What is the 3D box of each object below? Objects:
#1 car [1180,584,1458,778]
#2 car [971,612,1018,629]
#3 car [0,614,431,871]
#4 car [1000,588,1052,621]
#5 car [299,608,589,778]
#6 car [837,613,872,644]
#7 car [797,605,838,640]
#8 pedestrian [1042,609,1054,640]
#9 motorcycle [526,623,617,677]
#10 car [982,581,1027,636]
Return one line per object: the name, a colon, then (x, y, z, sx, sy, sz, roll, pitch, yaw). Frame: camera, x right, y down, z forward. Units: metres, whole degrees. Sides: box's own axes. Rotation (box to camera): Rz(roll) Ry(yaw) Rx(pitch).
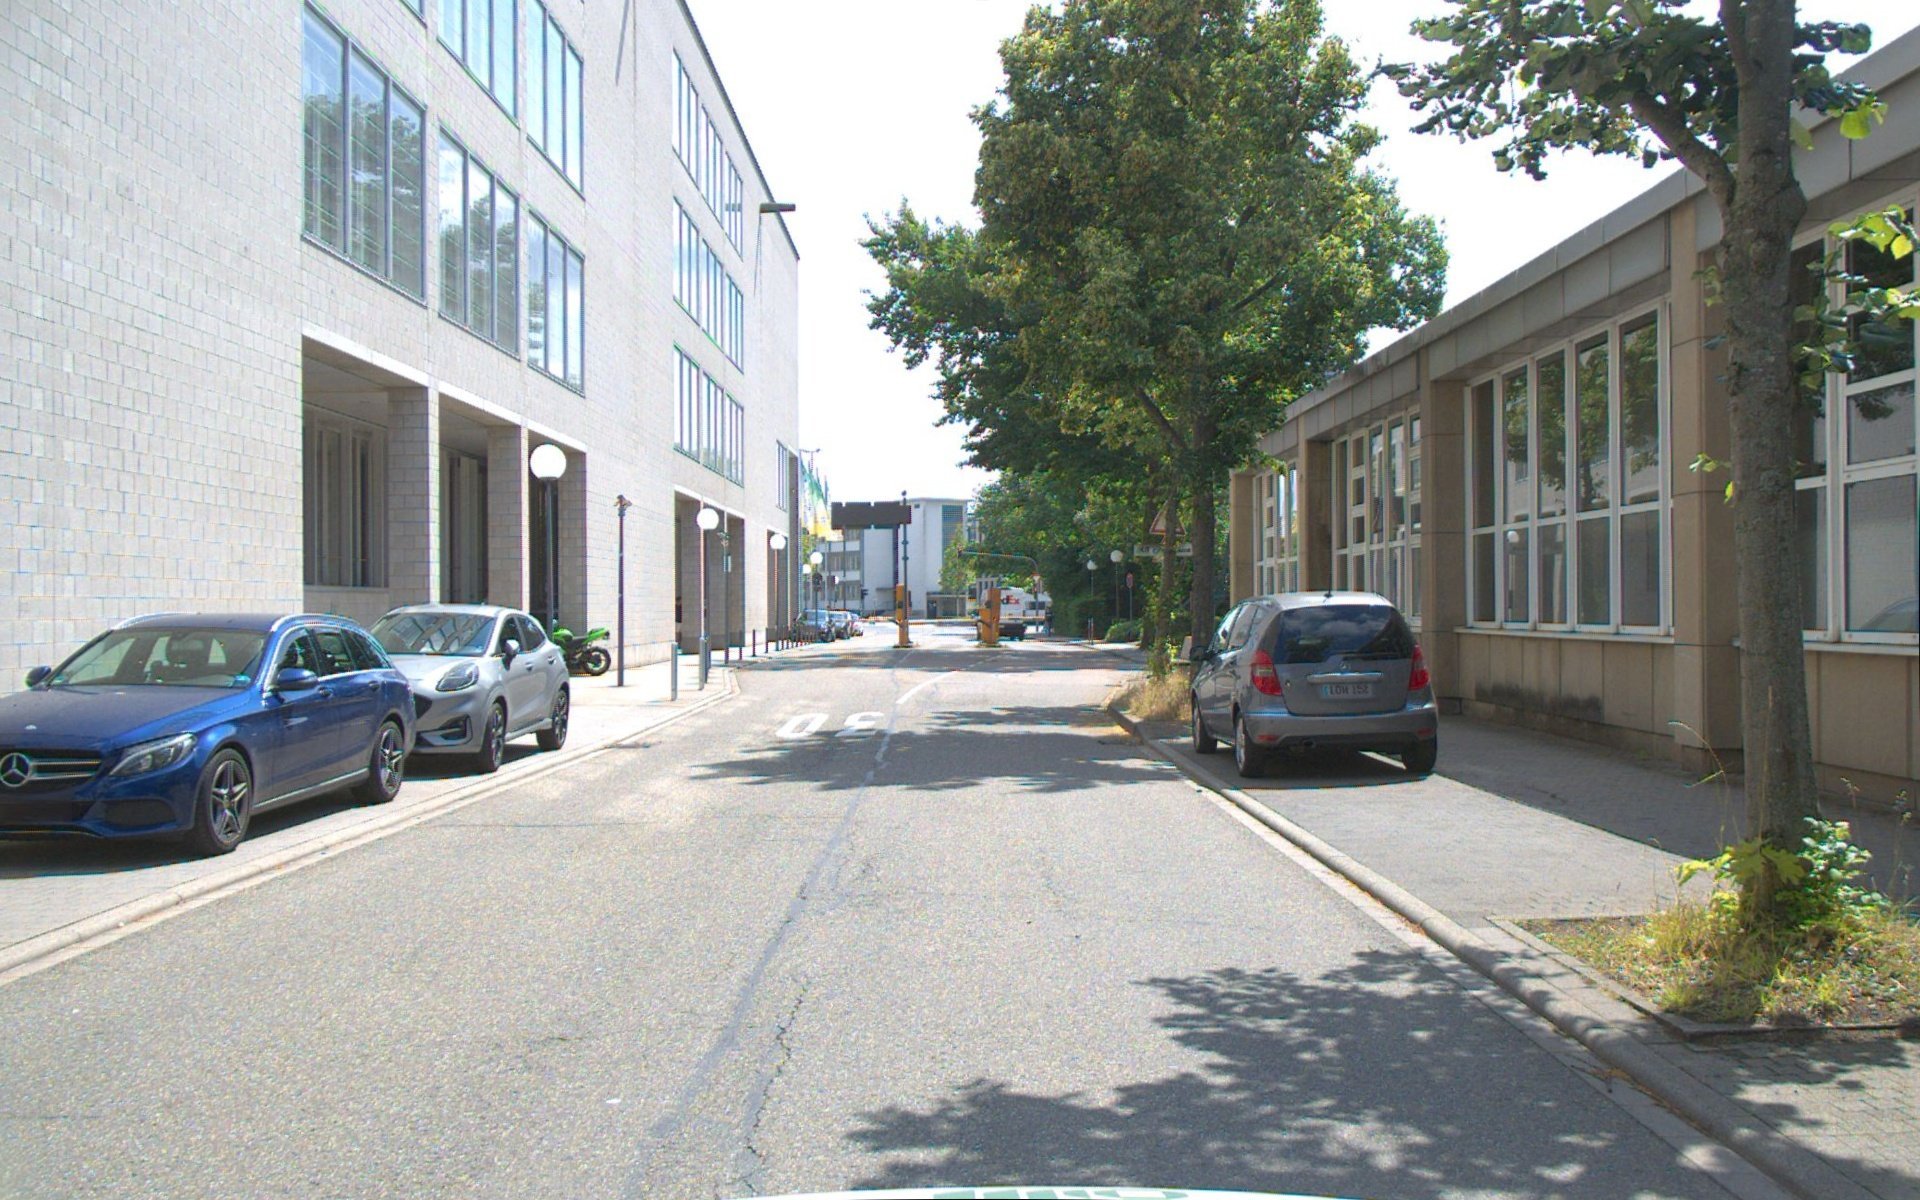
car: (3.315, 0.701, 16.057, 1.820, 1.601, 4.000, -1, 0, 0)
car: (2.682, 1.588, 128.655, 3.652, 1.353, 1.667, 0, -1, 2)
car: (-5.275, 0.834, 11.502, 1.730, 1.452, 4.235, 0, -1, 1)
car: (5.710, 0.394, 143.596, 4.288, 2.787, 1.998, 0, -1, -5)
car: (-5.047, 0.852, 16.763, 1.597, 1.511, 4.177, 0, -1, 0)
car: (-5.632, 1.545, 88.542, 1.612, 1.524, 3.727, -1, -2, 0)
car: (-6.568, 1.075, 76.632, 1.612, 1.524, 3.727, -1, -2, 0)
pedestrian: (5.018, 1.369, 93.933, 0.646, 1.759, 0.635, 0, -1, -1)
motorcycle: (-8.307, 1.058, 35.384, 1.825, 1.124, 0.656, 0, -1, -21)
car: (2.172, 0.425, 81.670, 2.041, 2.584, 4.315, 1, 0, 0)
